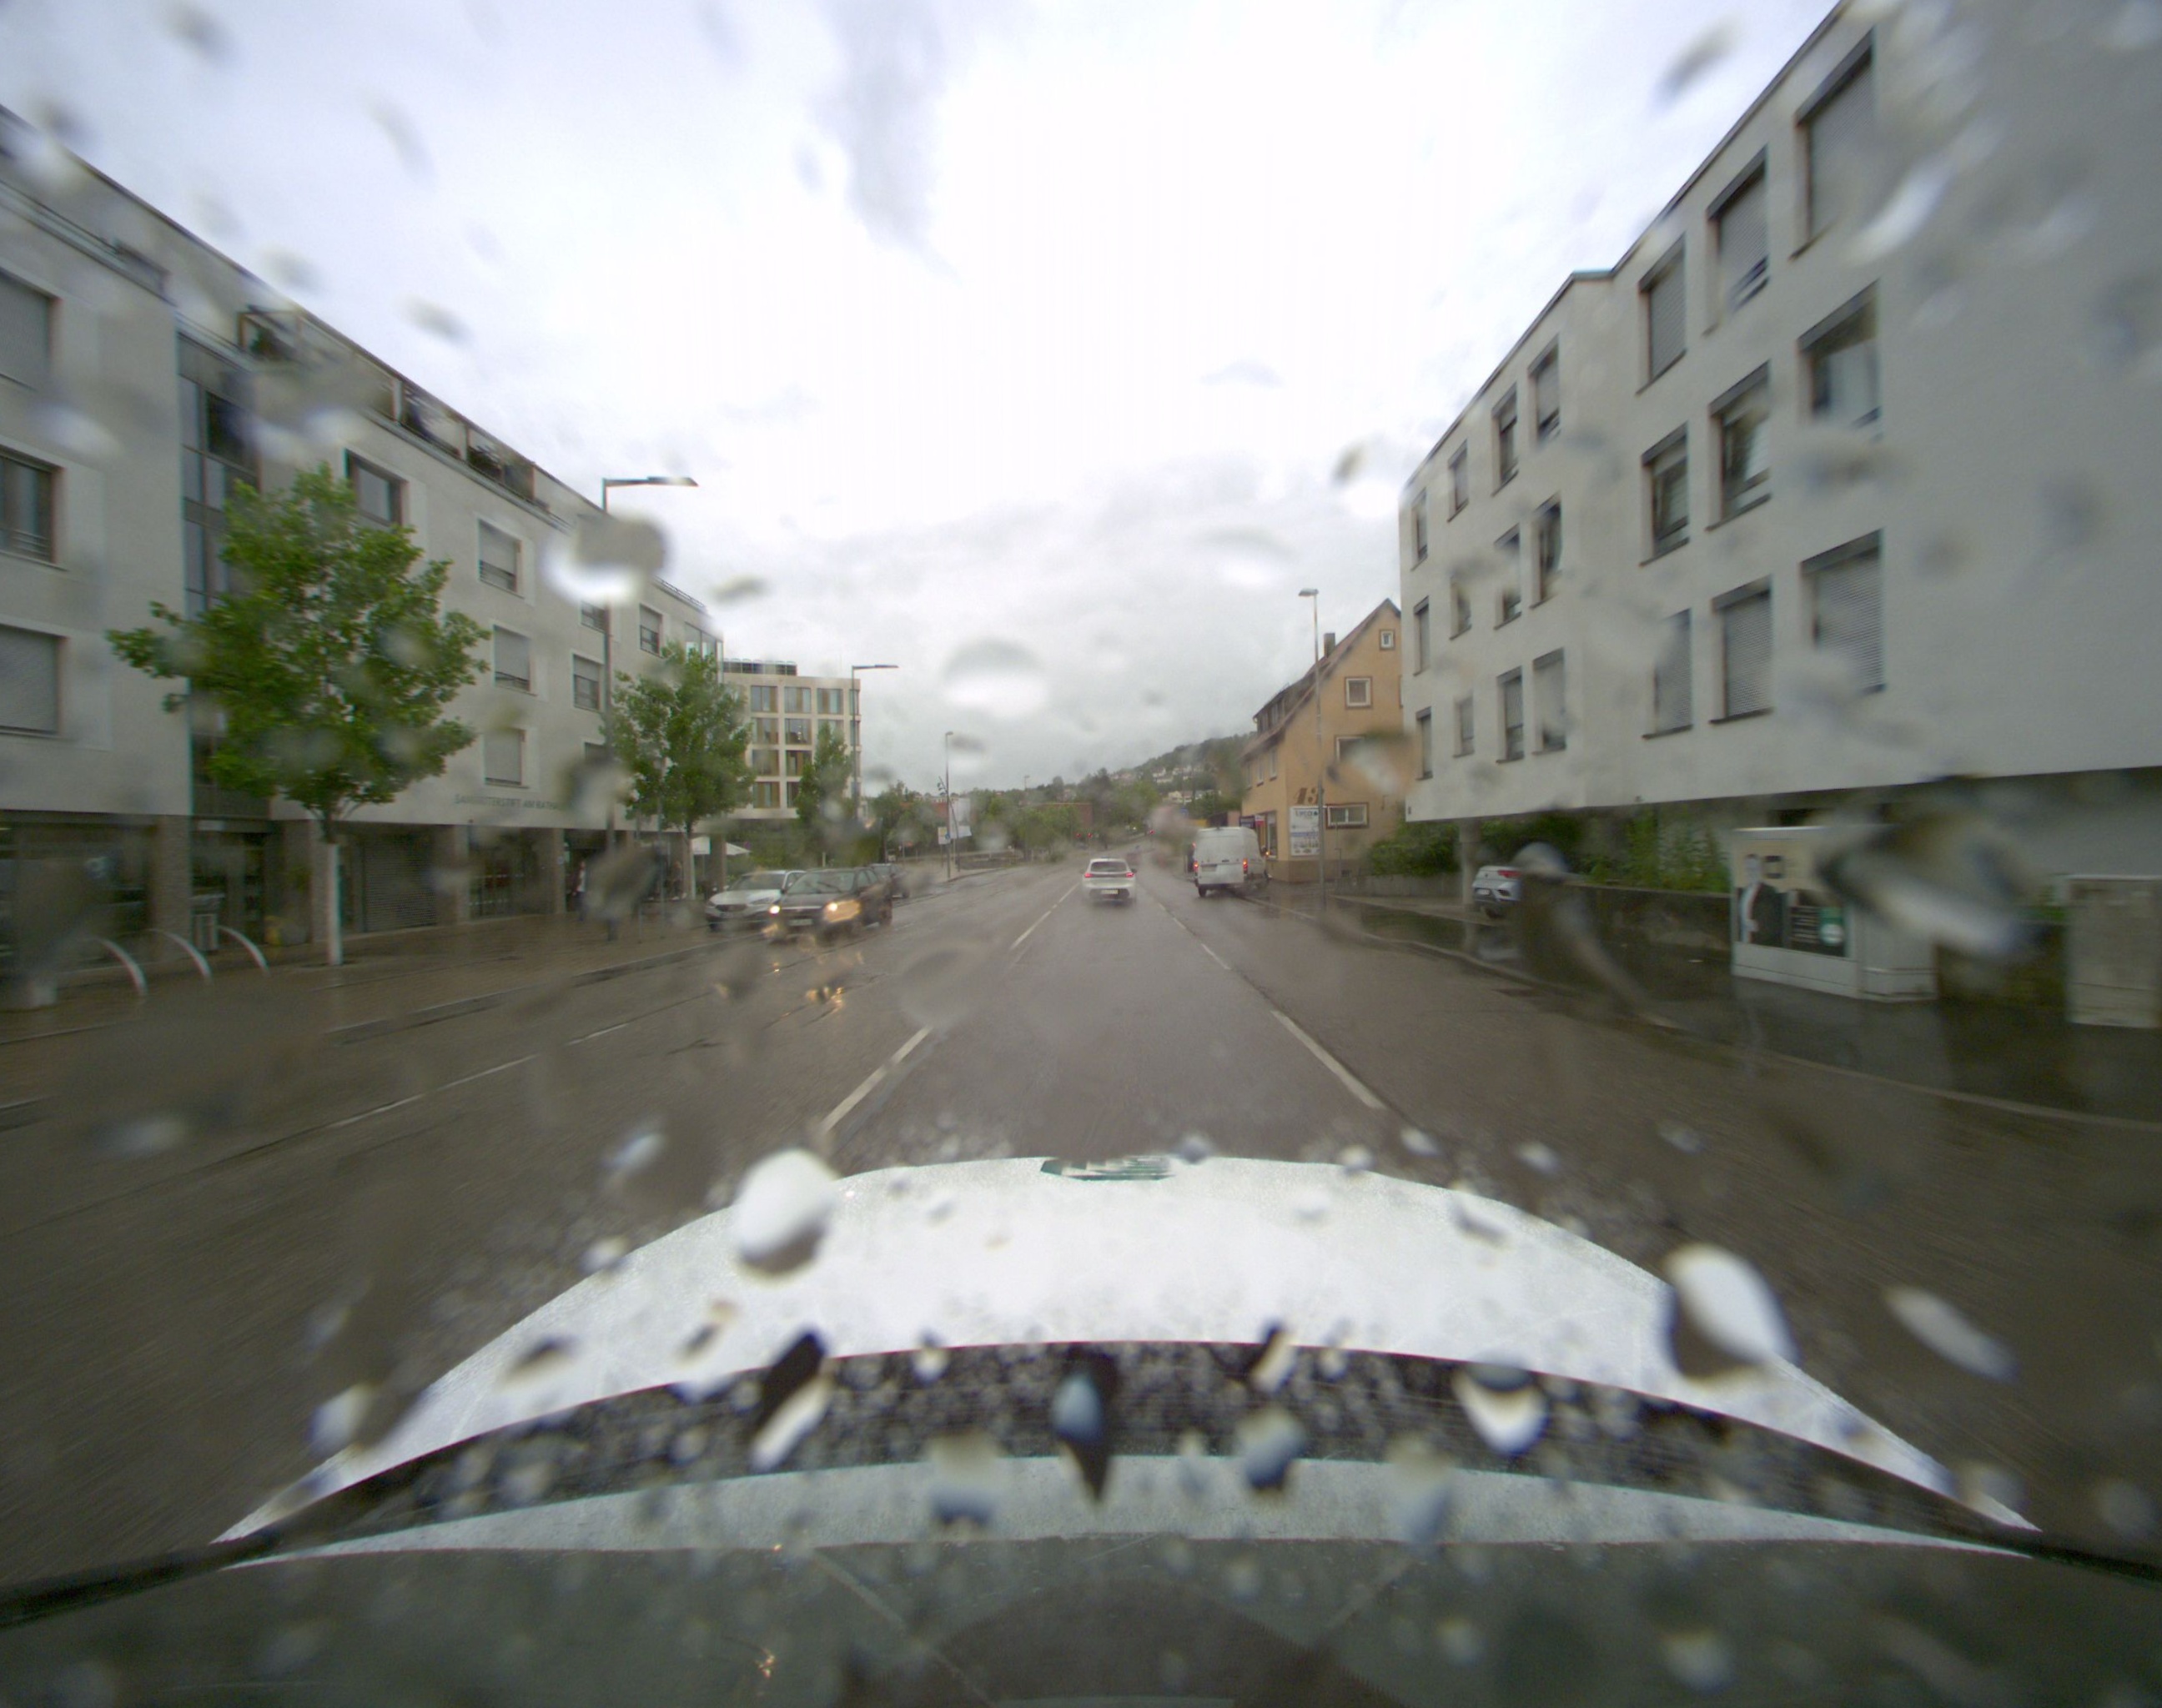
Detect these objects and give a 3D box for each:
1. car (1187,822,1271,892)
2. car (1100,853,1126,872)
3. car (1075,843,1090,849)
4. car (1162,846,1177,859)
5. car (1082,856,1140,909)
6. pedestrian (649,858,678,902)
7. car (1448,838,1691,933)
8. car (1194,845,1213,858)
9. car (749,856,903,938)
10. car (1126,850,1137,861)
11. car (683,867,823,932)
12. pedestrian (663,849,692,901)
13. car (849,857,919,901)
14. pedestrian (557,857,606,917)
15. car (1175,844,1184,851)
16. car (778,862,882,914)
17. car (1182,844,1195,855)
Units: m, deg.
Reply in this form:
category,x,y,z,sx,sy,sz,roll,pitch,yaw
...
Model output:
category,x,y,z,sx,sy,sz,roll,pitch,yaw
car,6.014,0.152,32.267,2.272,2.382,6.655,-3,-1,18
car,2.266,0.594,57.949,1.734,1.295,3.335,-2,0,2
car,0.320,-1.537,157.857,2.431,1.157,1.359,-2,-1,-26
car,10.765,-0.177,98.919,1.726,1.387,3.357,-1,3,4
car,0.962,0.871,26.286,1.684,1.519,3.935,-2,-1,2
pedestrian,-19.863,1.223,38.765,0.848,2.014,0.935,-2,-2,-5
car,9.824,0.597,16.600,3.778,1.530,1.820,5,0,0
car,14.985,-0.327,99.554,1.718,1.497,4.498,-3,1,14
car,-5.448,0.890,18.014,1.873,1.524,4.186,-2,-1,2
car,5.654,0.187,91.018,1.208,1.156,2.271,-2,-1,2
car,-8.365,1.113,21.230,1.789,1.463,4.477,-2,-1,0
pedestrian,-17.068,0.886,34.436,0.741,2.145,0.774,-2,-2,16
car,-8.050,0.963,33.664,1.581,1.582,4.473,-2,0,2
pedestrian,-14.979,0.984,24.441,0.806,1.738,1.003,-2,-2,1
car,17.423,-1.184,144.277,1.379,1.126,2.613,-2,-1,4
car,-8.201,1.086,27.082,1.683,1.510,4.582,-2,-1,4
car,16.945,-0.712,129.023,1.642,1.485,3.367,-2,-1,1
